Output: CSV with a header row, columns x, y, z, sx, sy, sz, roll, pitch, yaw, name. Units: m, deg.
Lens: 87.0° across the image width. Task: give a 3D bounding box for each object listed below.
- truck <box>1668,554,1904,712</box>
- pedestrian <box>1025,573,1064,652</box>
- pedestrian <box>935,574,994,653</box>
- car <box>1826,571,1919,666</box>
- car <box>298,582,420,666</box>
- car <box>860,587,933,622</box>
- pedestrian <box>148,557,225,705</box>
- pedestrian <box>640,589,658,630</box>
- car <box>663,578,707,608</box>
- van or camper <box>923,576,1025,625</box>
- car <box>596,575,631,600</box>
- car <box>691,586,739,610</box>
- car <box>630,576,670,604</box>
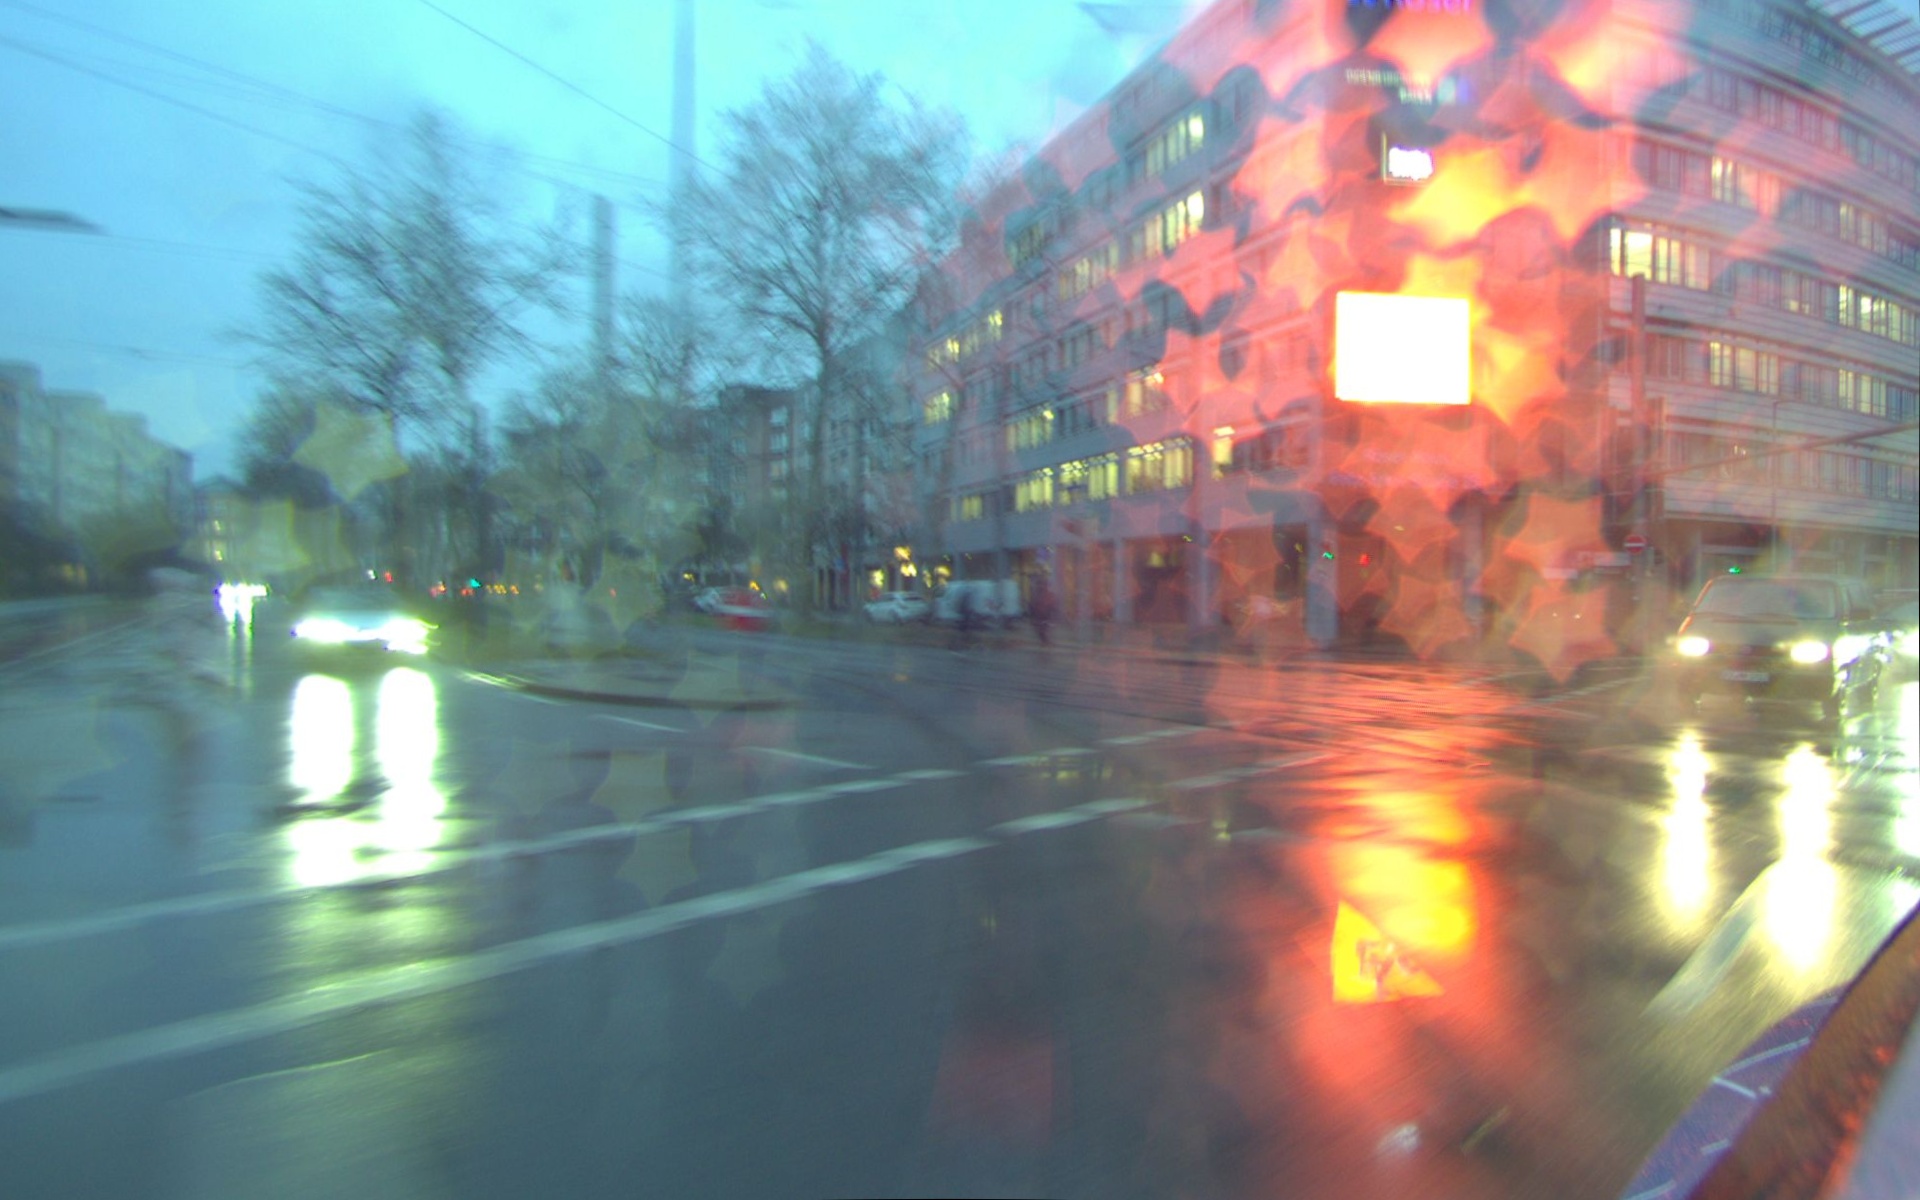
x,y,z,sx,sy,sz,roll,pitch,yaw,name
12.057,0.445,14.665,4.536,1.942,1.907,1,-2,-41,truck
2.005,0.278,23.955,0.790,1.834,0.647,1,0,19,pedestrian
0.100,0.304,23.914,1.129,1.809,0.778,1,0,-29,pedestrian
20.420,0.398,21.489,4.598,1.843,1.911,1,-2,-34,car
-11.693,0.391,19.587,1.779,1.357,3.996,0,2,-34,car
-3.014,0.209,47.186,1.612,1.547,3.842,1,0,-36,car
-9.821,0.373,12.852,0.722,1.809,0.735,1,0,-41,pedestrian
-10.613,0.335,34.535,0.469,1.381,0.607,1,0,-29,pedestrian
-18.945,-0.493,69.669,1.806,1.975,4.003,0,1,-32,car
0.505,0.009,42.395,1.807,1.953,4.746,1,0,-36,van or camper
-28.396,-1.068,82.895,1.806,1.975,4.003,0,1,-32,car
-15.773,-0.171,65.109,1.806,1.451,4.003,0,1,-32,car
-22.888,-0.738,74.635,1.806,1.975,4.003,0,1,-32,car
